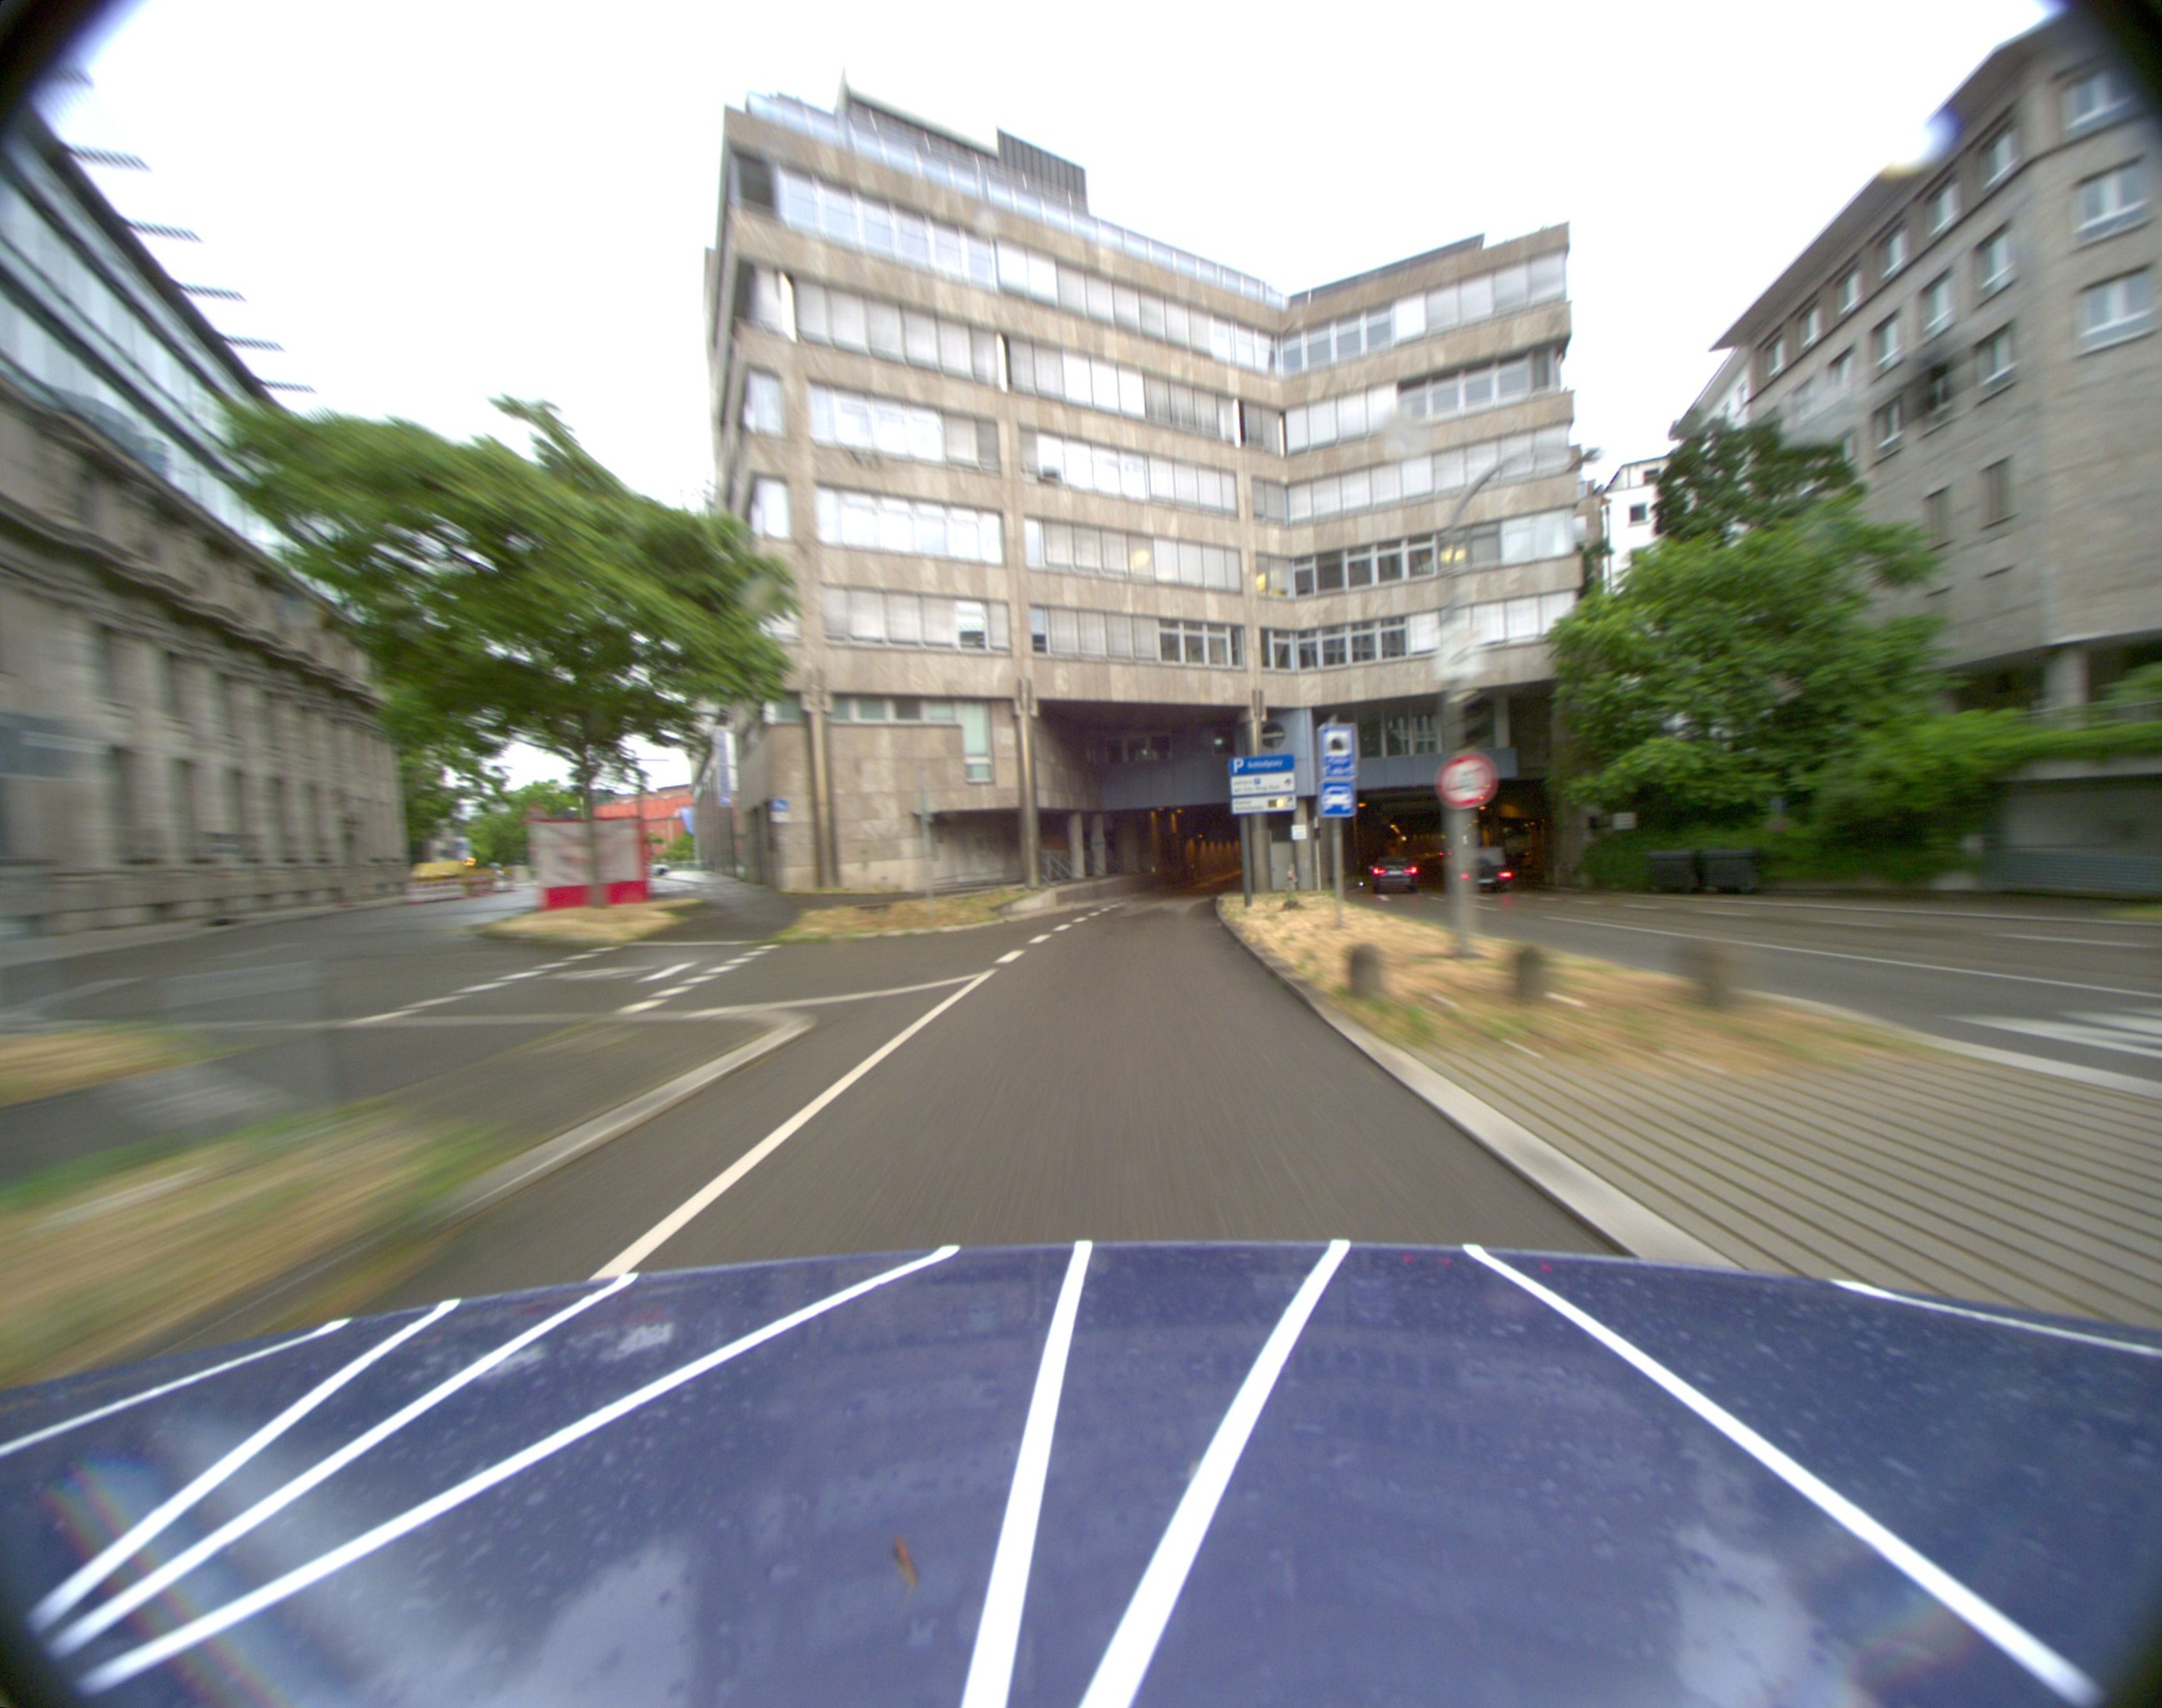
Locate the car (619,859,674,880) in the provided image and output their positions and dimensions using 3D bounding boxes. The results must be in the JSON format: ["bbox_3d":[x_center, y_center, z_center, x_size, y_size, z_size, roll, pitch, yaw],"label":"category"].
[{"bbox_3d":[-37.446,1.336,65.462,3.778,1.641,1.794,-2,0,-42],"label":"car"}]

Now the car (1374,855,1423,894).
[{"bbox_3d":[14.064,0.899,33.545,1.846,1.578,4.397,-2,-1,24],"label":"car"}]

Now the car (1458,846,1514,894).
[{"bbox_3d":[17.325,0.670,32.691,1.838,1.910,4.651,-2,-1,25],"label":"car"}]

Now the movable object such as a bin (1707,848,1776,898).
[{"bbox_3d":[20.217,0.568,23.267,1.298,1.442,1.204,-3,1,-30],"label":"movable object such as a bin"}]

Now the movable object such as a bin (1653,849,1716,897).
[{"bbox_3d":[19.483,0.605,24.534,1.169,1.442,1.336,-3,1,-38],"label":"movable object such as a bin"}]
